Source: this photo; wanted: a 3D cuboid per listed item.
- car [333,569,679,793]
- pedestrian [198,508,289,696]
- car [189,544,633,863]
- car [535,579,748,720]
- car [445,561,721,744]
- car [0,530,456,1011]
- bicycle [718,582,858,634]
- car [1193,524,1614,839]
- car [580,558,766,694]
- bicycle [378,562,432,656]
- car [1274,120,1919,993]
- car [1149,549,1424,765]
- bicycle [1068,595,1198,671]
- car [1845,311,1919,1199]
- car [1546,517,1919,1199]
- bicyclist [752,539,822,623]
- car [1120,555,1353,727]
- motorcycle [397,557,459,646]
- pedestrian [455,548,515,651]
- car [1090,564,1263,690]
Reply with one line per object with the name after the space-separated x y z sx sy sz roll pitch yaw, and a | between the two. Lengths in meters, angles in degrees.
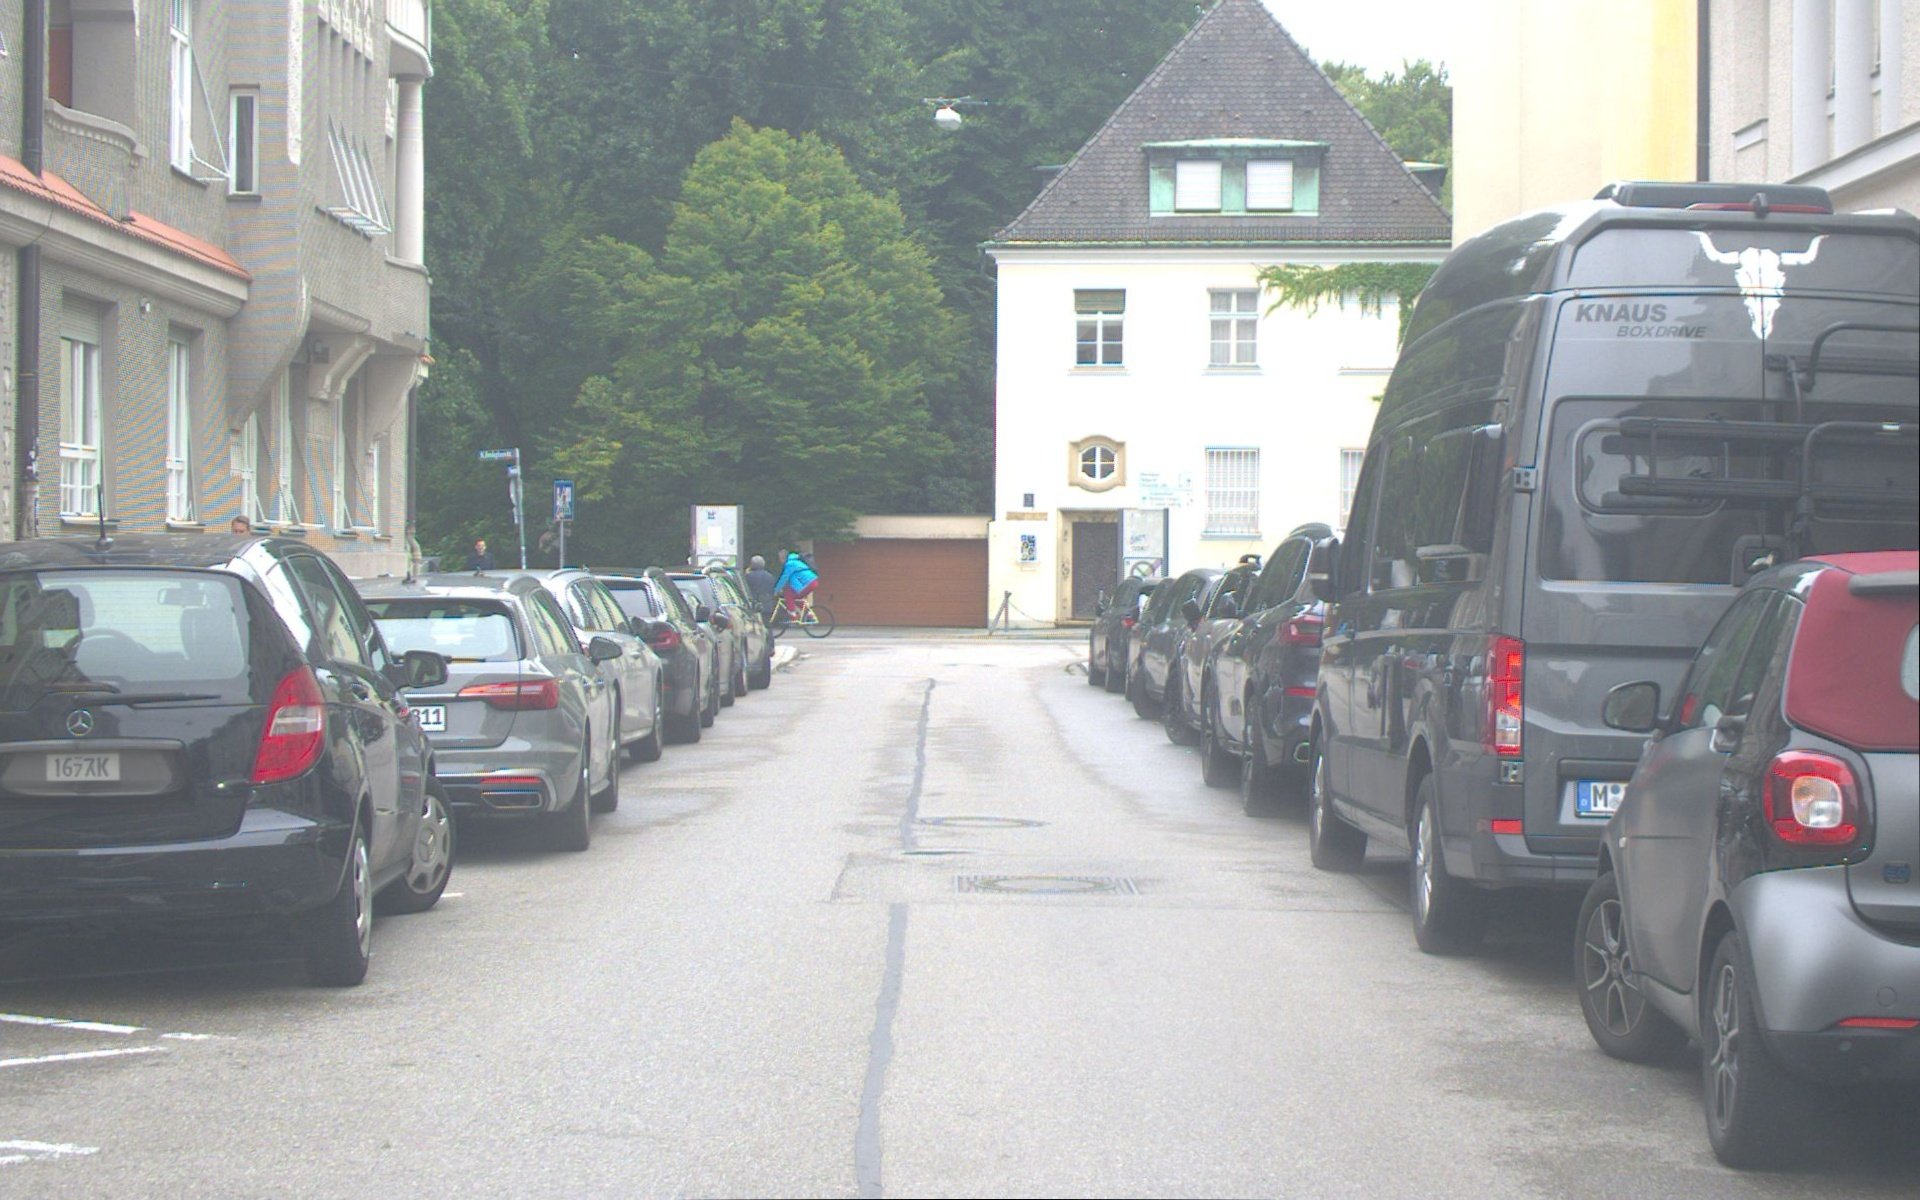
-3.162 0.513 24.769 1.805 1.426 4.439 -1 1 1 | car
-7.020 0.017 33.715 0.716 1.811 0.731 1 0 -1 | pedestrian
-2.850 0.468 18.805 1.837 1.508 4.608 1 1 -2 | car
-3.206 0.465 35.271 1.755 1.326 4.096 0 1 1 | car
-3.159 0.397 29.698 1.993 1.443 4.779 0 1 -2 | car
-3.001 0.540 13.208 1.802 1.567 3.814 1 0 -4 | car
-3.450 0.157 69.126 2.613 0.984 0.986 1 0 15 | bicycle
2.626 0.425 21.474 1.993 1.683 4.674 2 1 0 | car
-3.353 0.265 40.879 1.755 1.510 4.707 0 1 1 | car
-8.159 0.124 50.583 0.618 1.345 1.675 1 0 -5 | bicycle
2.852 -0.124 14.887 2.254 2.950 6.132 2 0 -1 | car
2.557 0.405 27.715 1.634 1.586 3.969 1 0 -3 | car
2.553 0.485 50.709 1.794 1.082 0.665 0 2 27 | bicycle
2.780 0.481 5.143 1.795 2.032 4.071 1 0 -1 | car
2.631 0.617 9.455 1.542 1.620 2.815 1 0 0 | car
-3.472 -0.382 69.128 1.124 1.646 0.986 1 0 14 | bicyclist
2.596 0.357 33.084 1.633 1.531 3.856 1 0 -4 | car
-8.772 0.012 56.761 0.736 1.436 2.147 1 0 -2 | motorcycle
-8.278 -0.013 59.957 0.839 1.781 0.936 1 0 3 | pedestrian
2.678 0.301 43.447 1.692 1.466 4.611 1 1 -2 | car
